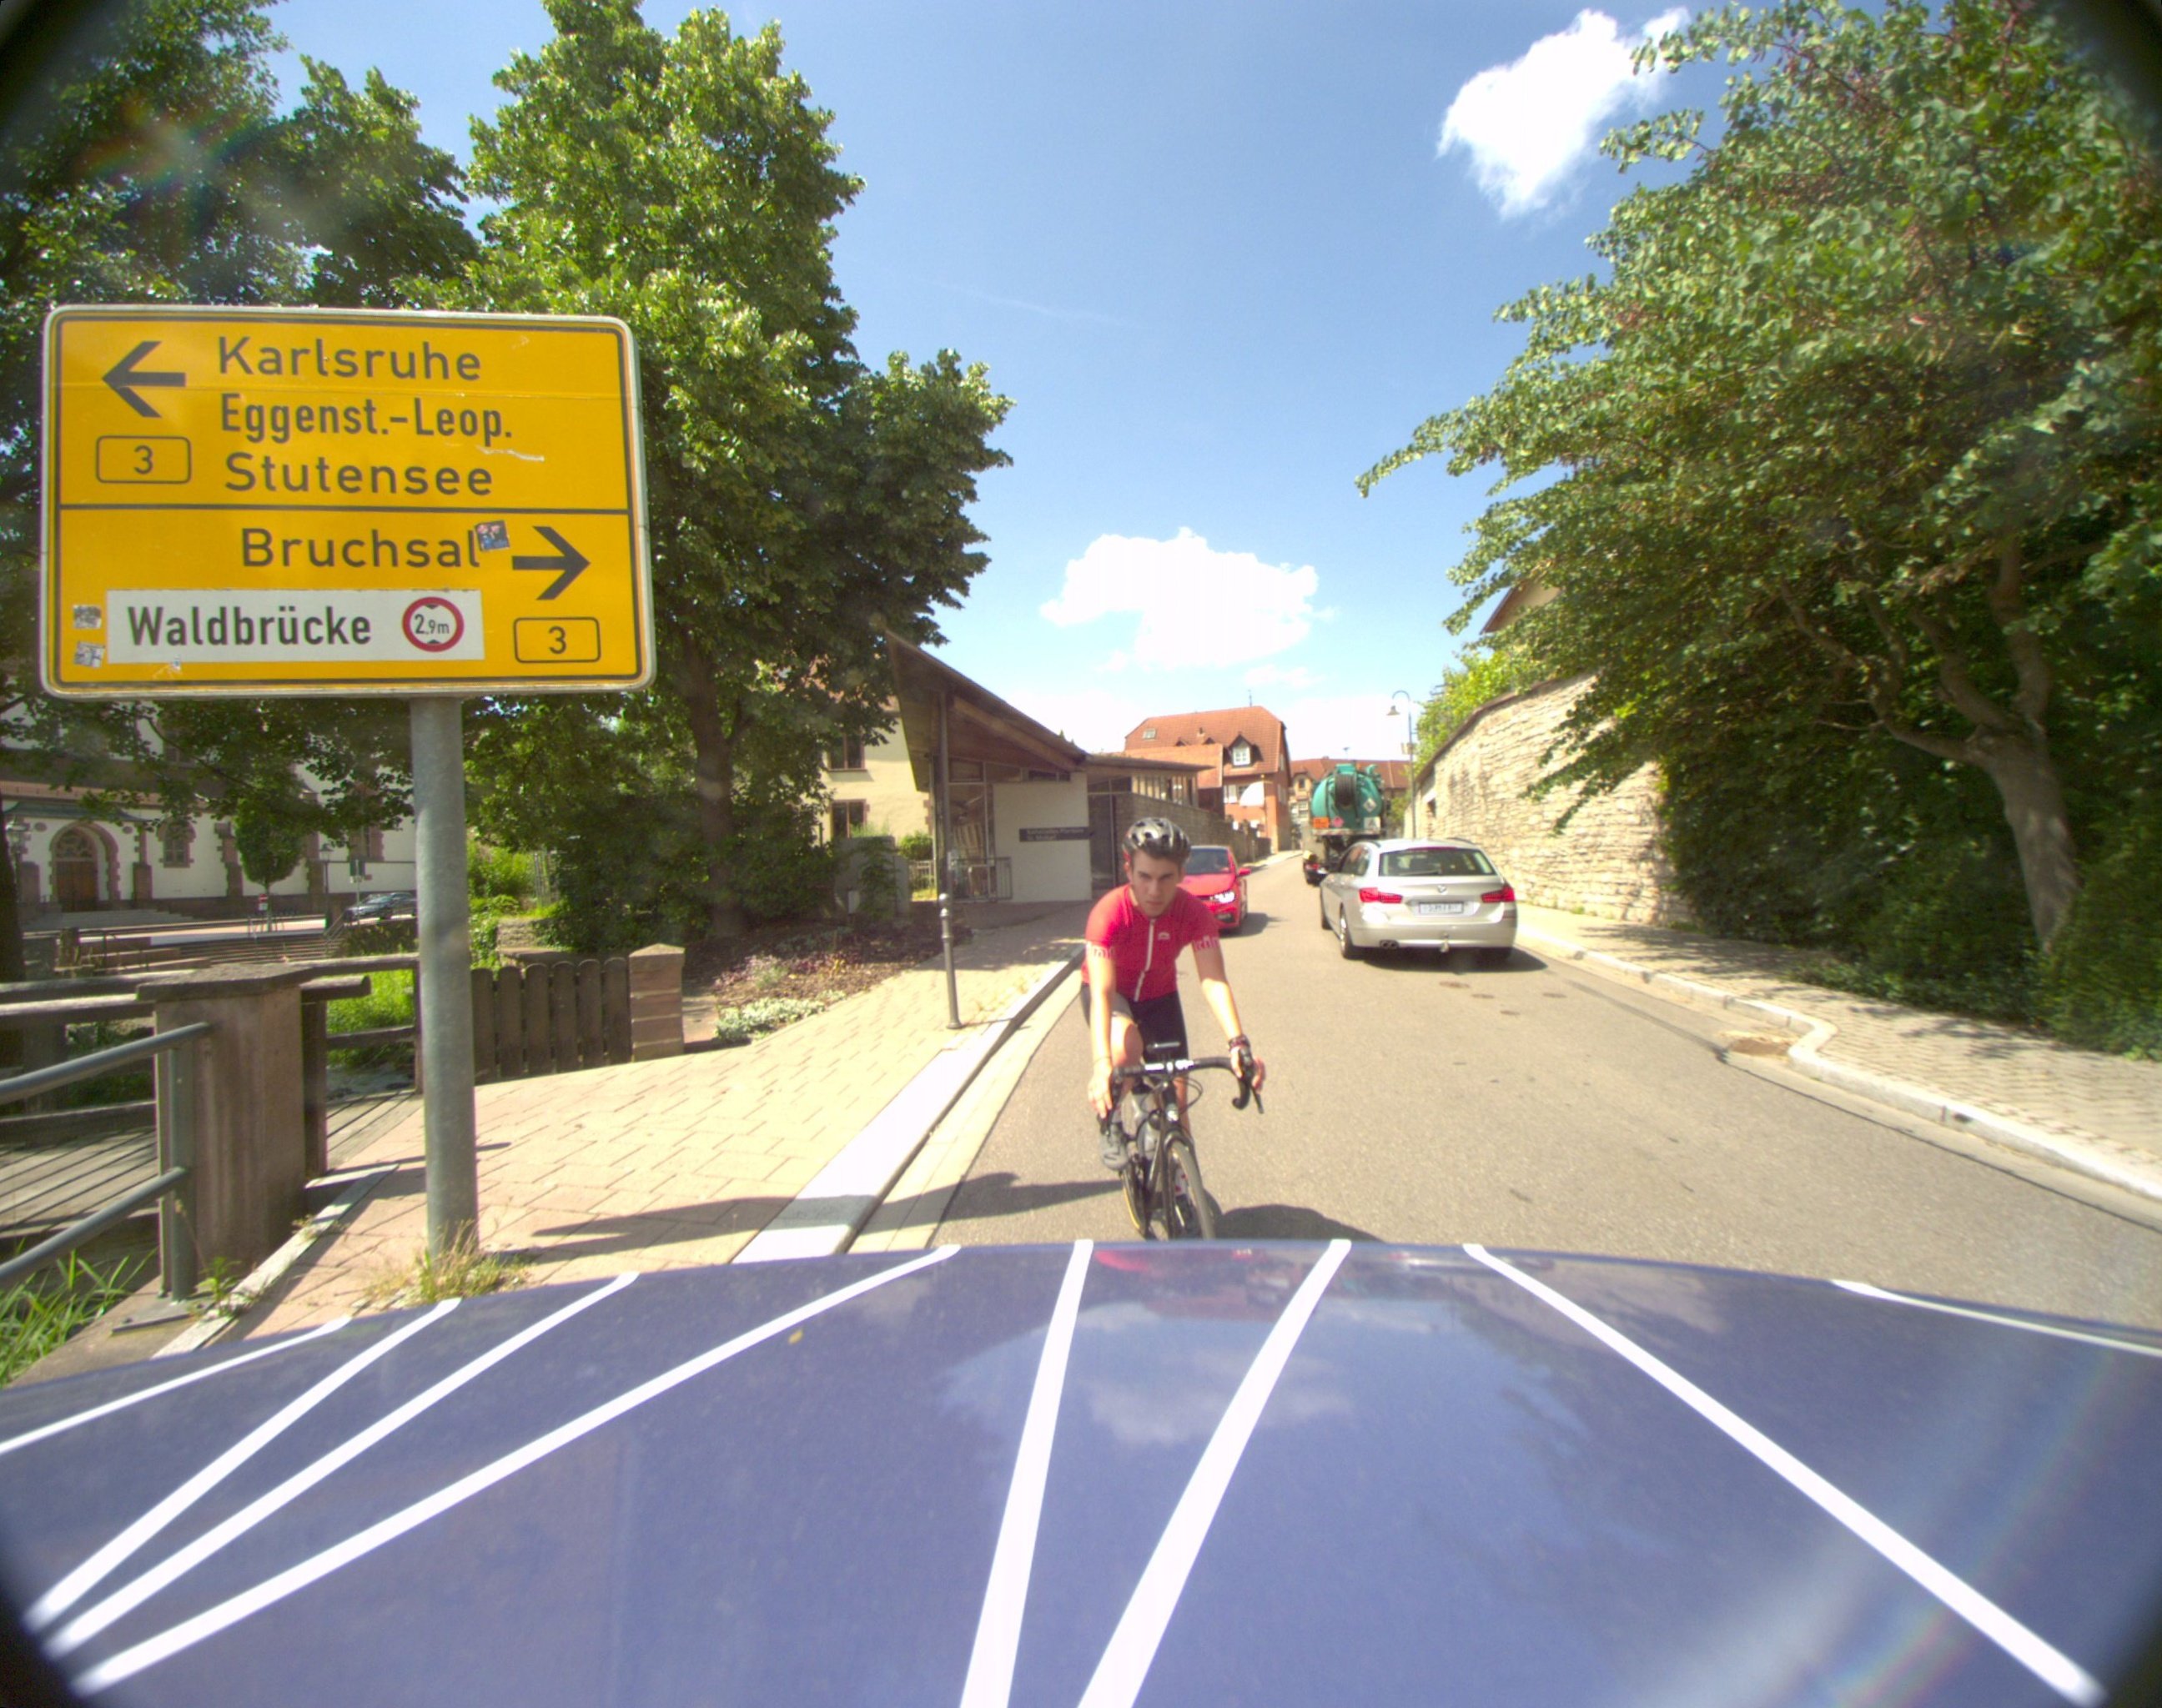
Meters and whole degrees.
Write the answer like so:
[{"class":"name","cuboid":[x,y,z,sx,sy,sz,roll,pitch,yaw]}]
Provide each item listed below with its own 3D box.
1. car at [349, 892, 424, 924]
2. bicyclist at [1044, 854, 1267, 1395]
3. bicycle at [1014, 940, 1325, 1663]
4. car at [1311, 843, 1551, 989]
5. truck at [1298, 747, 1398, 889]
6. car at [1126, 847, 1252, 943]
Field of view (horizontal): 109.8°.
[{"class":"car","cuboid":[-38.939,3.005,42.715,1.672,1.496,3.805,-3,0,-20]},{"class":"bicyclist","cuboid":[0.206,0.708,2.348,0.532,1.396,0.755,-2,1,2]},{"class":"bicycle","cuboid":[0.195,0.939,2.410,0.531,1.070,2.054,-2,0,2]},{"class":"car","cuboid":[4.329,0.641,10.232,1.898,1.491,4.617,-2,0,11]},{"class":"truck","cuboid":[8.569,-1.065,24.389,2.414,3.637,9.578,-1,2,20]},{"class":"car","cuboid":[1.963,0.607,12.920,1.667,1.344,3.498,-1,1,15]}]
